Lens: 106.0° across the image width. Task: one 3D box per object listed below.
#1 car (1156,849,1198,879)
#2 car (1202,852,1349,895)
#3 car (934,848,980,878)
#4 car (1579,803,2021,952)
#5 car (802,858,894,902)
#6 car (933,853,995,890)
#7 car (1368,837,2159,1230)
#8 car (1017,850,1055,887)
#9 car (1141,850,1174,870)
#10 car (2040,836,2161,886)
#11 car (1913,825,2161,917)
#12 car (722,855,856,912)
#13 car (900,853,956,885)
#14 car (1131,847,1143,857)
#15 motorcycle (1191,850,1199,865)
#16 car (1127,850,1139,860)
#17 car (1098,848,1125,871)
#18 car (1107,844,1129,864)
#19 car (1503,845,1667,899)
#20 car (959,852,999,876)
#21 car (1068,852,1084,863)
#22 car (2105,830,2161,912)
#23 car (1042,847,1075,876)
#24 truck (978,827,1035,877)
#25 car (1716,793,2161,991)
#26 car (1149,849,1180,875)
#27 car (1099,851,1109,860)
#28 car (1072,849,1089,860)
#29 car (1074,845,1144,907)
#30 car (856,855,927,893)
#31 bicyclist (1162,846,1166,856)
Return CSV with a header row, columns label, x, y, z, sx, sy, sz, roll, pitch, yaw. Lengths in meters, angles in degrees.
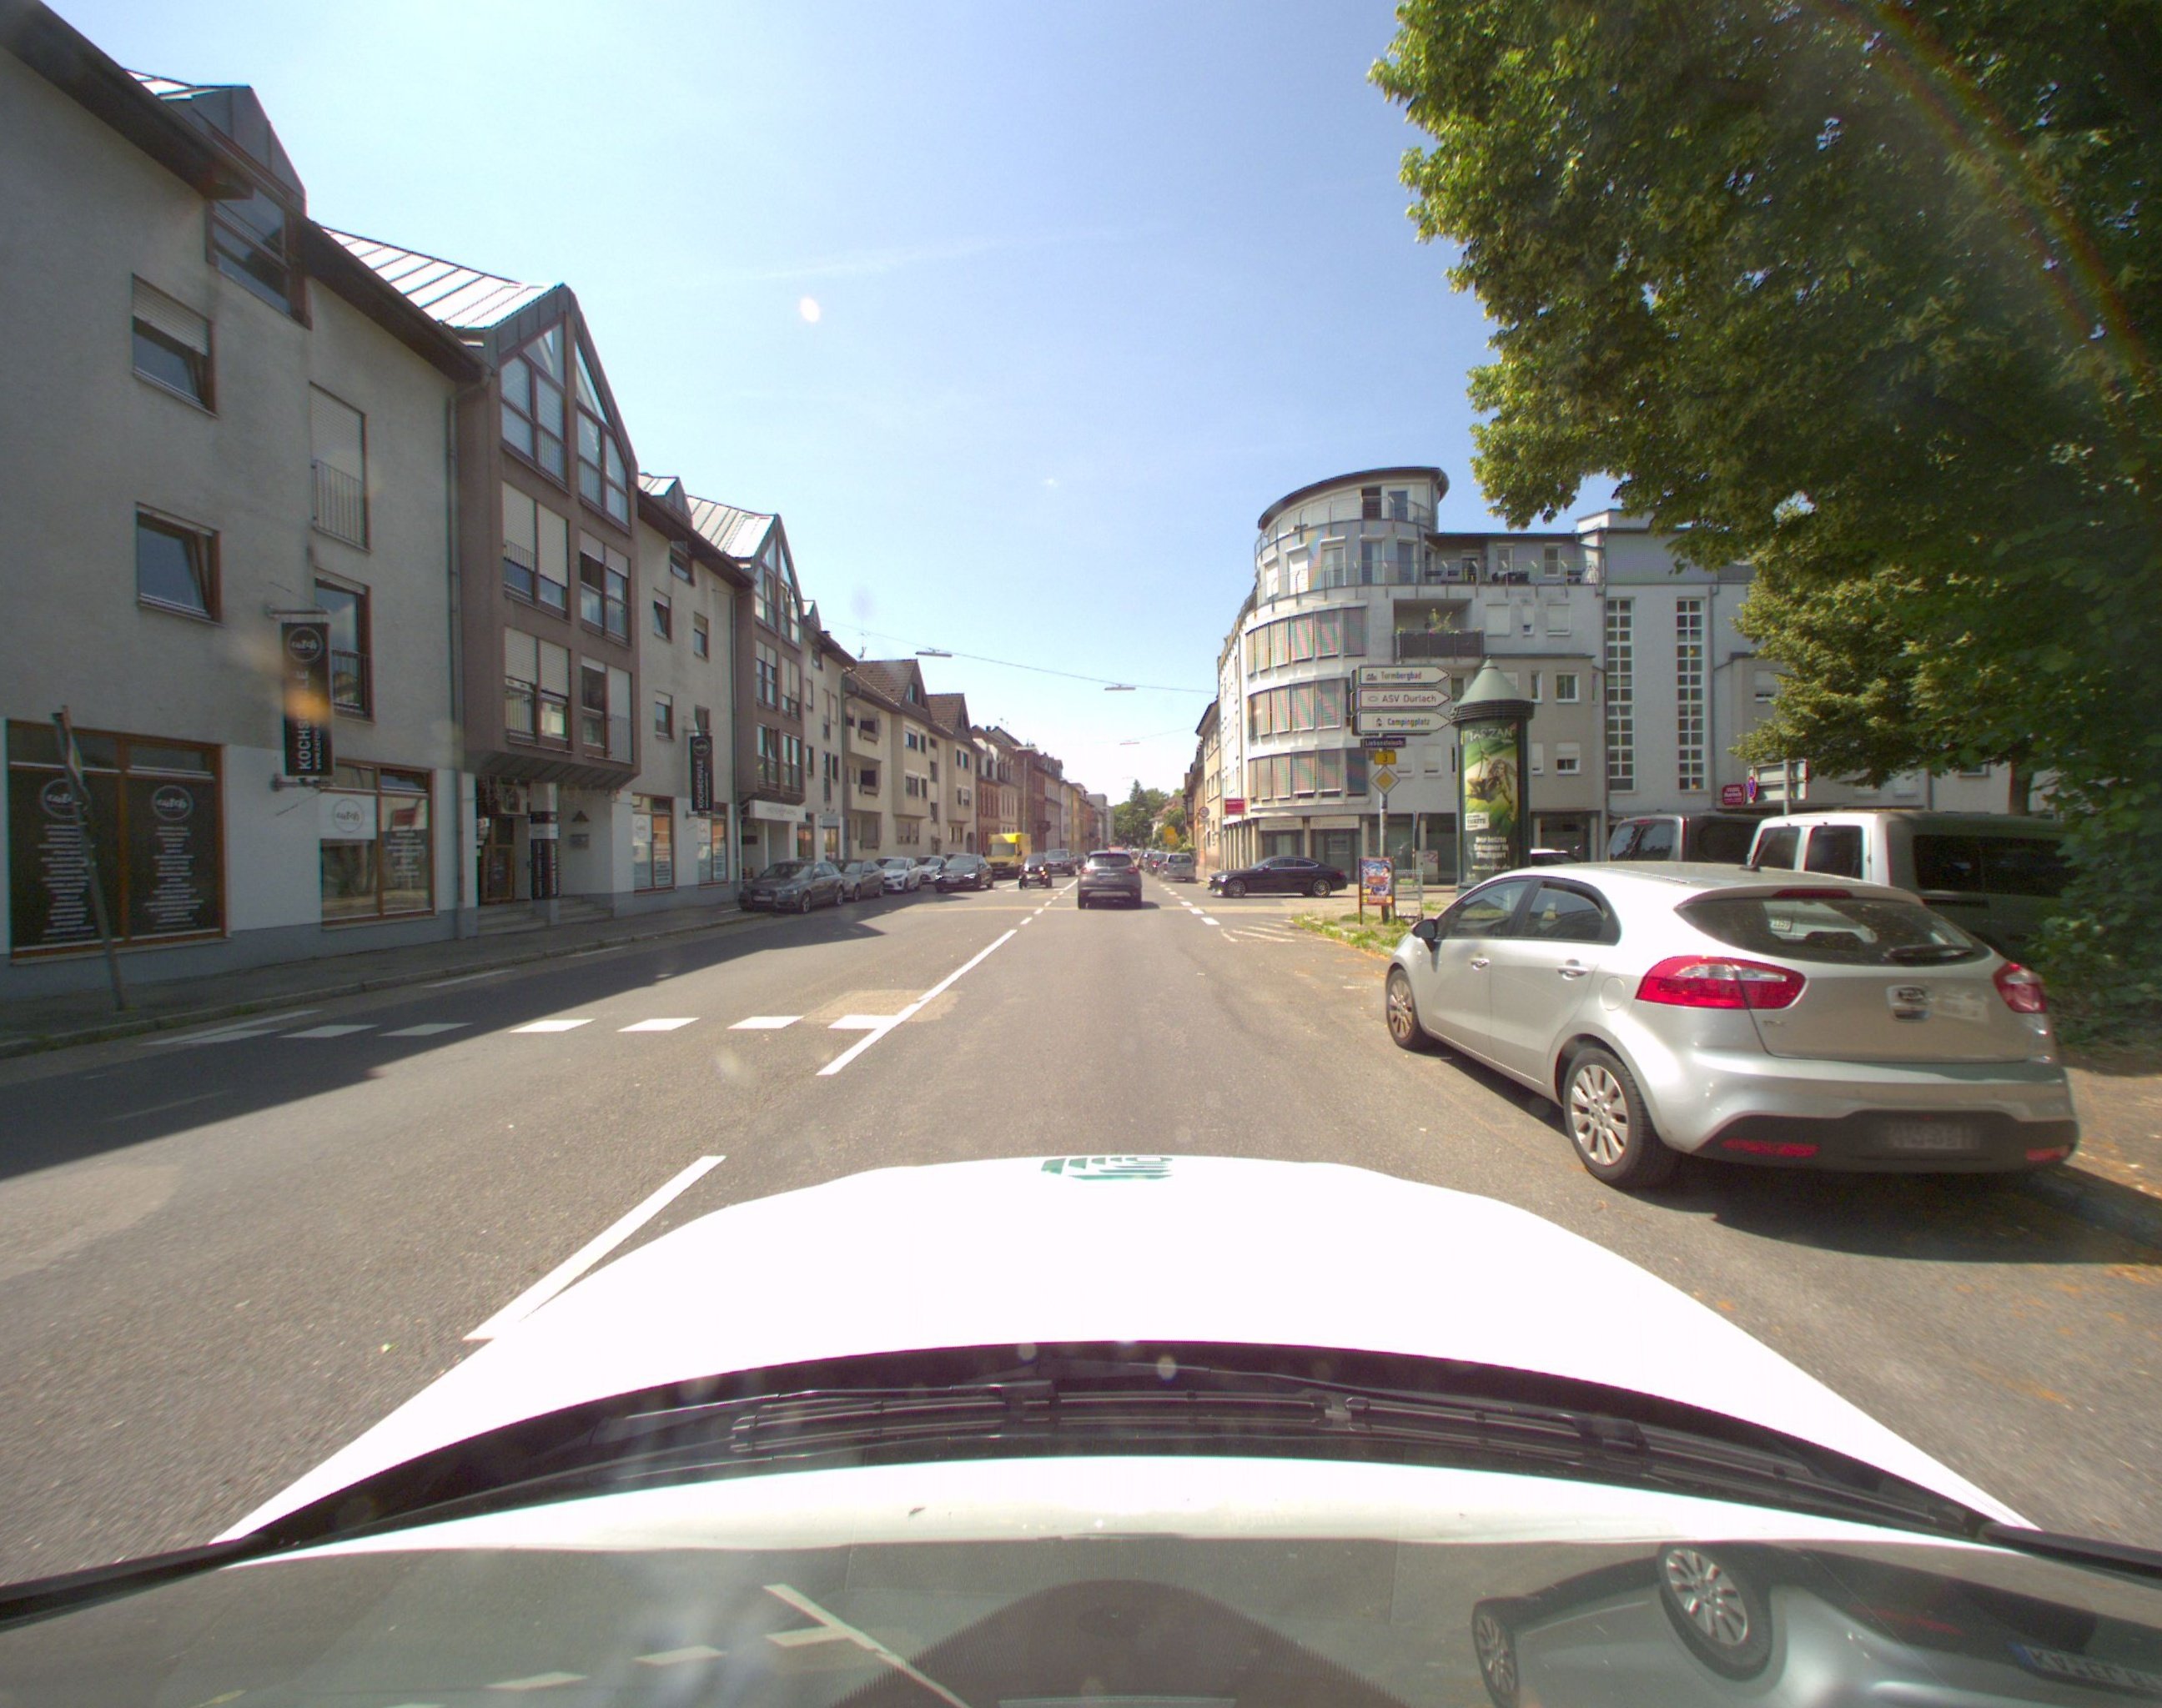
label,x,y,z,sx,sy,sz,roll,pitch,yaw
car,4.808,0.468,41.150,1.672,1.454,4.143,1,0,1
car,6.546,0.639,27.760,4.566,1.365,2.000,0,0,0
car,-7.188,0.515,47.609,1.832,1.595,4.389,2,0,2
car,9.070,0.280,10.592,3.973,1.751,2.017,0,0,1
car,-8.218,0.867,29.132,1.832,1.384,4.330,2,0,3
car,-4.841,0.688,34.193,1.735,1.419,4.226,-2,0,3
car,3.271,0.682,5.044,1.760,1.485,3.893,0,0,2
car,-1.876,0.577,34.472,1.493,1.459,2.720,-1,0,-2
car,5.695,0.452,61.234,1.849,1.463,4.545,0,0,-3
car,37.148,0.236,28.979,4.360,1.735,1.626,0,0,-3
car,18.399,0.287,15.224,3.974,1.554,1.681,-2,0,0
car,-8.408,0.782,23.997,1.832,1.447,4.973,2,0,3
car,-7.793,0.744,41.906,1.832,1.489,4.389,2,0,2
car,9.679,-0.369,140.998,1.754,1.560,3.950,-1,0,7
motorcycle,9.510,0.267,67.948,0.593,1.225,1.363,-1,0,4
car,8.581,0.142,133.403,1.754,1.560,3.950,-1,0,7
car,2.330,0.398,61.642,1.804,1.620,4.446,-2,0,4
car,3.936,-0.019,86.877,1.983,2.013,4.475,-1,0,7
car,15.035,0.515,24.401,3.975,1.555,1.570,0,0,-1
car,-6.698,0.616,53.840,1.832,1.488,4.390,2,0,3
car,-0.662,0.494,111.304,1.832,1.422,4.650,-3,0,3
car,22.190,0.281,15.634,3.053,1.554,1.591,-2,0,0
car,-1.309,0.421,48.808,1.807,1.620,4.440,-2,0,-1
truck,-4.487,-0.120,50.362,2.215,2.771,7.572,-2,0,4
car,8.682,0.310,7.941,3.754,1.667,1.662,-1,0,-3
car,5.075,0.448,50.063,1.704,1.473,4.442,-1,0,3
car,4.607,0.350,161.682,1.897,1.620,4.304,-3,0,2
car,-0.021,0.053,117.065,1.830,1.422,4.566,-4,-1,6
car,0.719,0.556,23.437,1.739,1.616,3.997,0,1,-2
car,-7.898,0.792,34.421,1.833,1.489,4.388,2,0,1
bicyclist,12.379,-0.384,121.849,0.530,1.469,0.792,-1,0,6
